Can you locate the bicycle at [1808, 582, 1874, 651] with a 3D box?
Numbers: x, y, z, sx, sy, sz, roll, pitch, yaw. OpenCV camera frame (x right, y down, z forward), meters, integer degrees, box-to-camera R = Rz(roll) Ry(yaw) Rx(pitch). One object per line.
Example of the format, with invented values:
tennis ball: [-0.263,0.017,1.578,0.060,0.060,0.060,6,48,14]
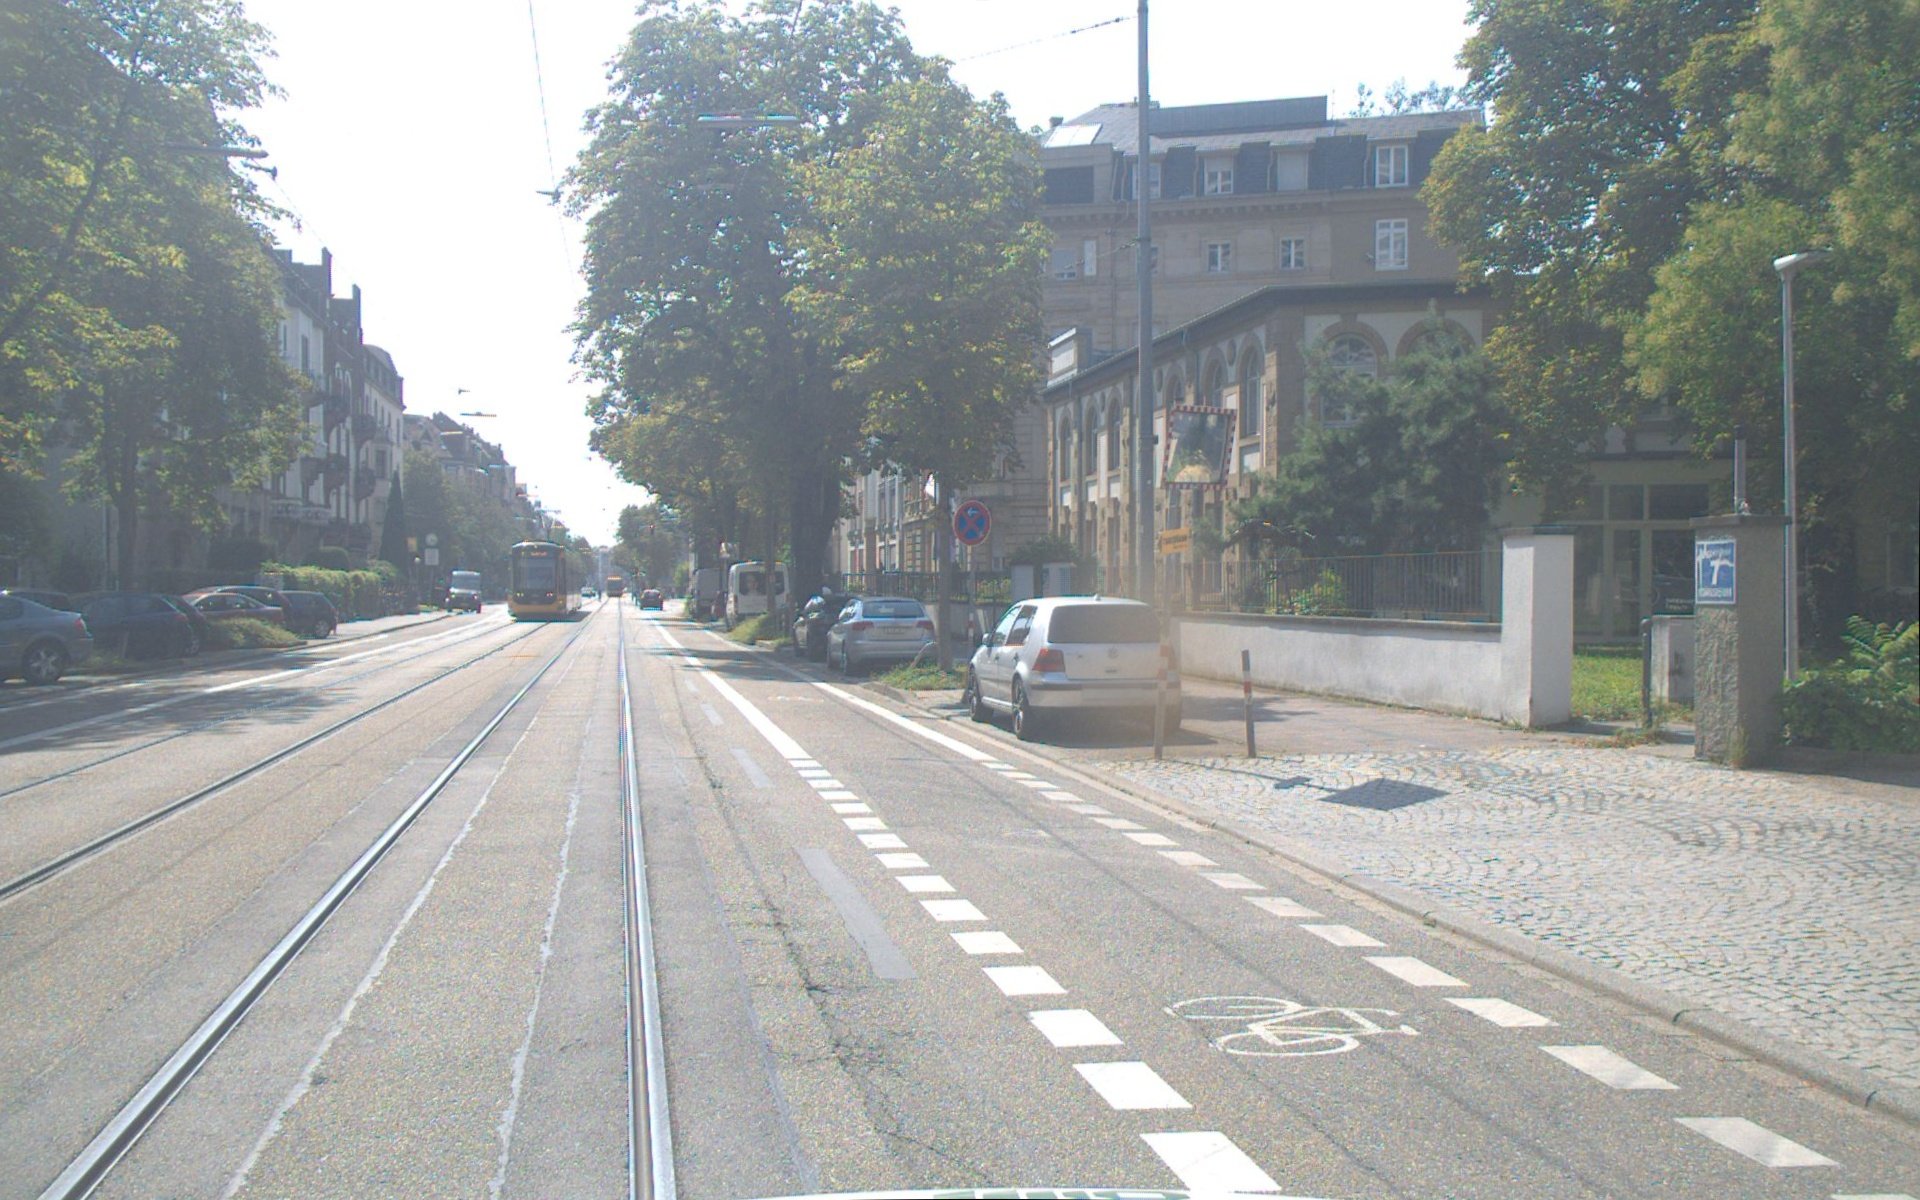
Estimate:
bicycle: [17.639,0.329,33.172,0.753,1.325,2.527,0,0,19]

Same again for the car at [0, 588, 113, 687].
car: [-15.532,0.590,25.017,1.641,1.477,4.678,0,1,31]

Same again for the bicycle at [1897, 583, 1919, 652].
bicycle: [19.214,0.344,32.676,0.753,1.325,2.527,0,0,19]

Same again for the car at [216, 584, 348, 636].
car: [-21.665,0.319,52.928,1.643,1.602,3.572,0,0,37]

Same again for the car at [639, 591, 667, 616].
car: [-22.888,0.248,123.212,1.958,1.832,3.989,1,0,-11]

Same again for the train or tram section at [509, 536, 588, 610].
train or tram section: [-22.477,-1.449,90.901,3.434,3.769,12.381,1,1,-11]

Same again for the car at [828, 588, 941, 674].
car: [-1.492,0.556,31.308,1.611,1.538,3.631,1,0,-11]

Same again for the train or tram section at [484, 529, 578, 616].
train or tram section: [-20.230,-1.289,78.698,3.434,3.769,12.381,1,1,-11]

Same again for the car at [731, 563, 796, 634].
car: [-6.981,-0.053,58.407,1.958,2.407,3.989,1,0,-11]

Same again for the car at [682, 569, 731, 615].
car: [-13.027,-0.425,84.866,1.961,2.272,3.982,0,0,-16]

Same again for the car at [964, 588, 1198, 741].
car: [1.213,0.620,18.177,1.758,1.471,3.725,-1,0,-9]

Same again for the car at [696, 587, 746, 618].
car: [-11.296,0.088,77.995,1.960,1.422,3.985,0,0,-14]

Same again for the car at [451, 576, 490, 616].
car: [-30.789,-0.255,104.035,2.205,2.484,3.984,1,0,-15]

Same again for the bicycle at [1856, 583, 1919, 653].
bicycle: [18.420,0.345,32.770,0.753,1.325,2.527,0,0,19]

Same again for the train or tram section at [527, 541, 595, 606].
train or tram section: [-24.734,-1.637,103.061,3.434,3.769,12.381,1,1,-11]

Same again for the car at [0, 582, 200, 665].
car: [-17.687,0.454,33.830,1.643,1.602,3.572,0,0,37]

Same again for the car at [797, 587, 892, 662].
car: [-2.657,0.502,37.357,1.761,1.604,3.991,0,0,-10]

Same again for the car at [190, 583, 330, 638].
car: [-21.212,0.317,50.228,1.643,1.602,3.572,0,0,37]
